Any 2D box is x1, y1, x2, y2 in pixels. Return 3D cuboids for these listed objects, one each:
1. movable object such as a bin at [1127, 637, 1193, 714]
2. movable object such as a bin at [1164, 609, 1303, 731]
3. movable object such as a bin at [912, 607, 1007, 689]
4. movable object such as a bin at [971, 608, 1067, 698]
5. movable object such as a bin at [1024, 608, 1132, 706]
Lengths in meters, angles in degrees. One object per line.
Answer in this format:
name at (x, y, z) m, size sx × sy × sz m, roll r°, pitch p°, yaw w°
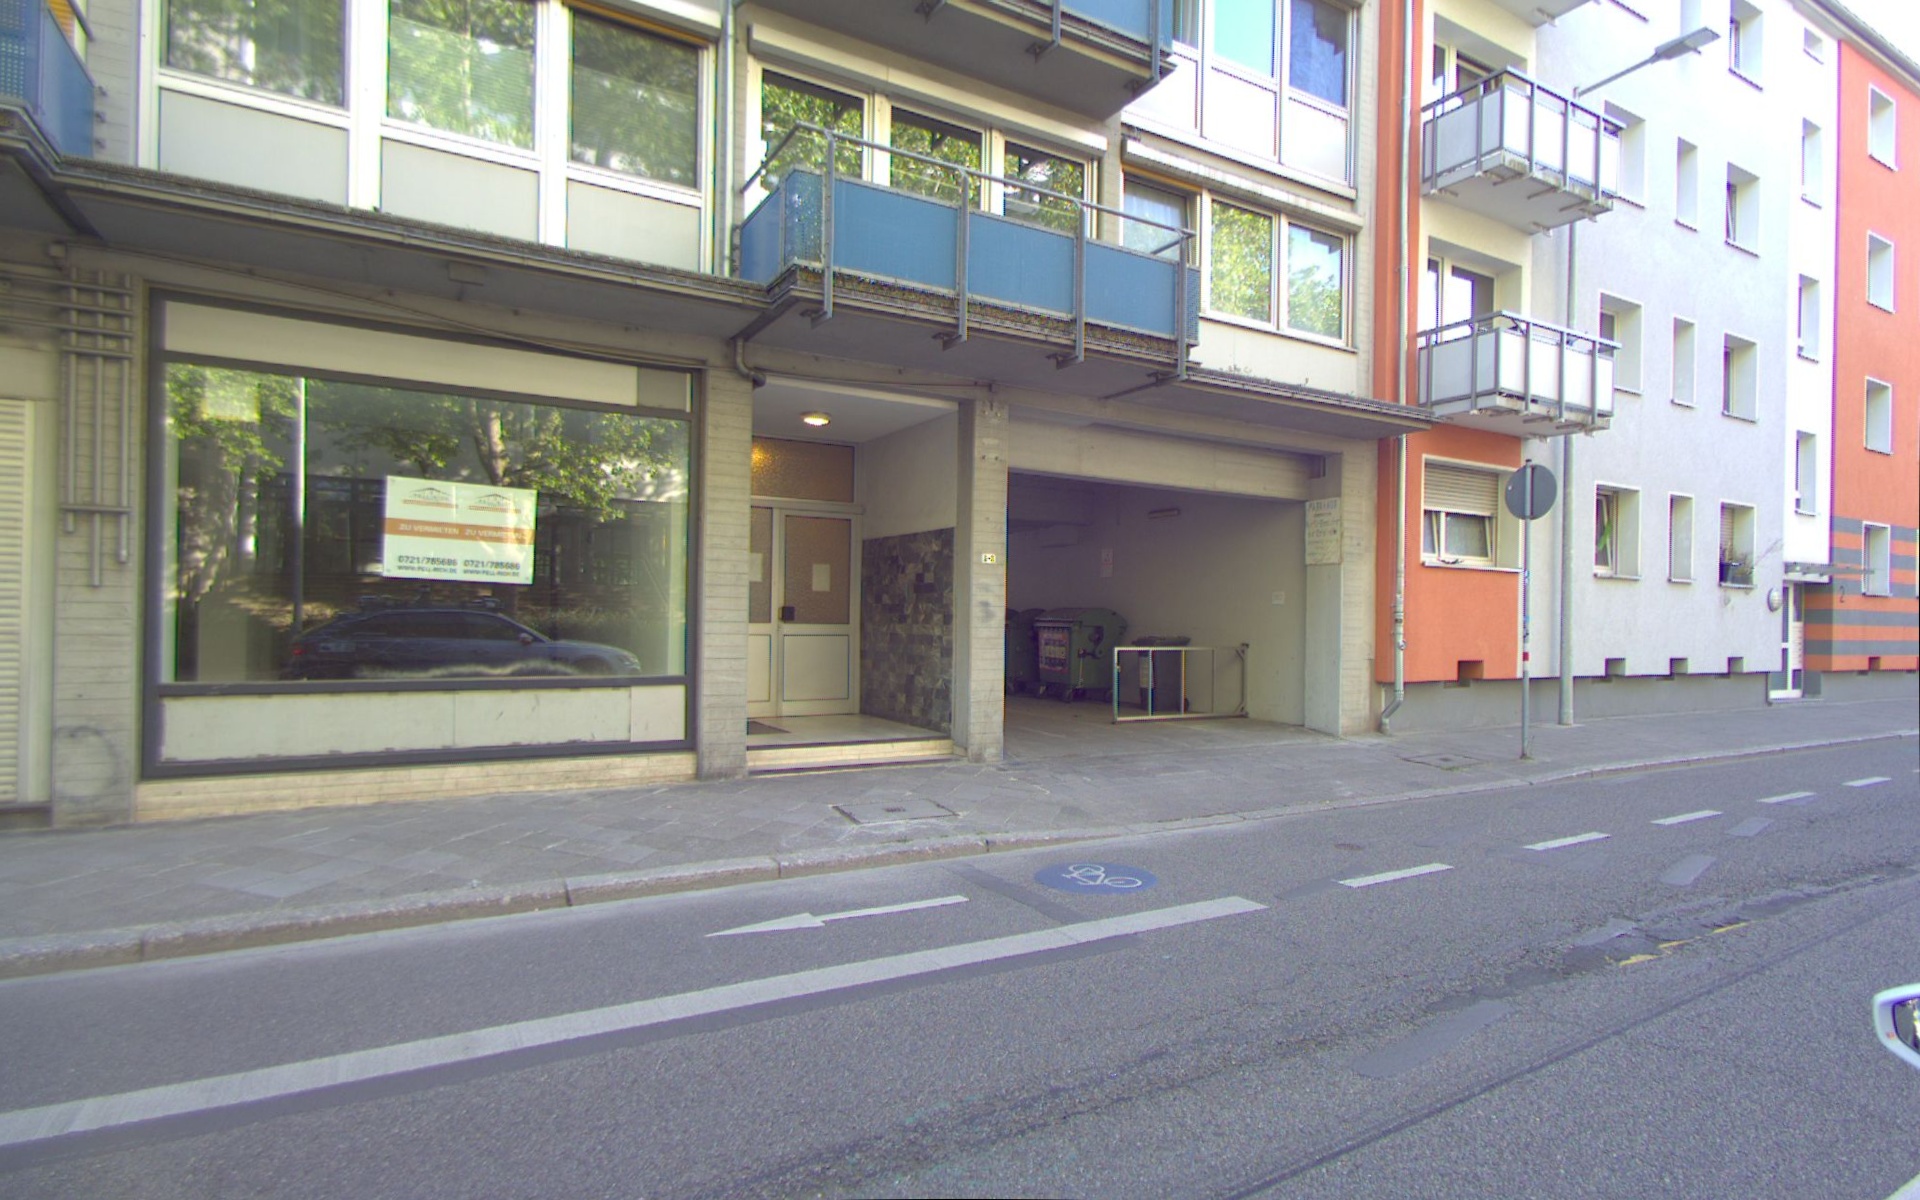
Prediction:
movable object such as a bin at (2.897, 1.079, 14.539) m, size 0.695 × 1.055 × 0.593 m, roll 2°, pitch 0°, yaw -30°
movable object such as a bin at (3.487, 0.855, 12.909) m, size 1.119 × 1.449 × 1.322 m, roll 1°, pitch 0°, yaw -28°
movable object such as a bin at (-0.032, 0.870, 18.883) m, size 1.119 × 1.449 × 1.666 m, roll 1°, pitch 0°, yaw -28°
movable object such as a bin at (0.996, 0.873, 17.180) m, size 1.119 × 1.449 × 1.322 m, roll 1°, pitch 0°, yaw -28°
movable object such as a bin at (1.847, 0.867, 15.857) m, size 1.128 × 1.449 × 1.342 m, roll 1°, pitch 0°, yaw -28°
